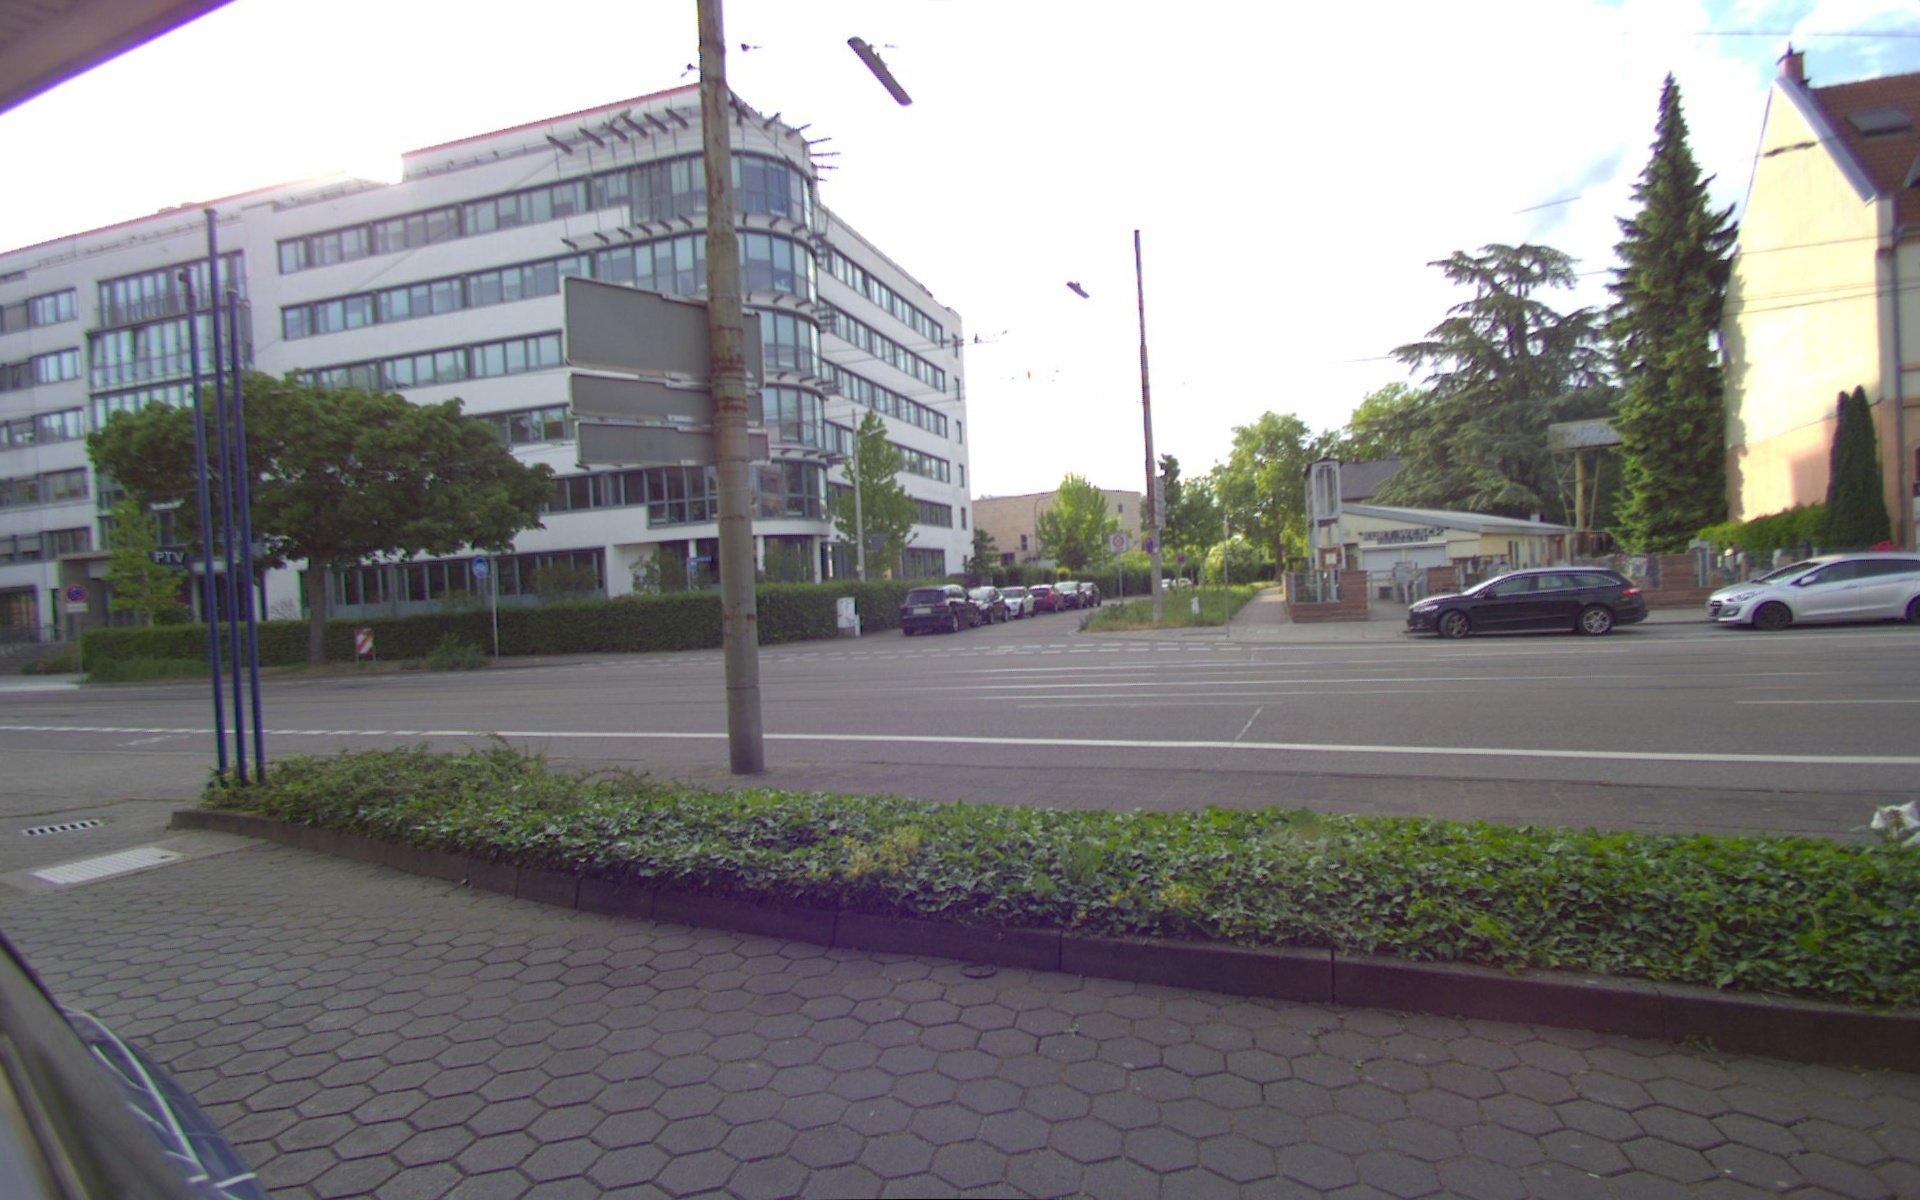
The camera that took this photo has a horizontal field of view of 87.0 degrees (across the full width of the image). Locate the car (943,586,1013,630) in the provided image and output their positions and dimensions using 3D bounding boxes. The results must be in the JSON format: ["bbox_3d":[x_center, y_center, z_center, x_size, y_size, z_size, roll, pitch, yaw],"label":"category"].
[{"bbox_3d":[0.783,0.288,40.974,1.929,1.551,4.274,-3,0,13],"label":"car"}]

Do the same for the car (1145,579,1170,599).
[{"bbox_3d":[19.686,-1.094,100.791,1.849,1.748,4.247,-3,1,19],"label":"car"}]

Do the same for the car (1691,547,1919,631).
[{"bbox_3d":[18.412,-0.249,21.381,4.424,1.494,1.713,-3,1,21],"label":"car"}]

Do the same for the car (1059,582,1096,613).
[{"bbox_3d":[7.277,-0.165,62.494,1.731,1.748,4.030,-3,0,13],"label":"car"}]

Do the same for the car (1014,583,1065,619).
[{"bbox_3d":[4.164,0.019,52.491,1.929,1.650,4.274,-3,0,13],"label":"car"}]

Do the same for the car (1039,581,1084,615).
[{"bbox_3d":[5.823,-0.154,57.720,1.929,1.748,4.512,-3,0,13],"label":"car"}]

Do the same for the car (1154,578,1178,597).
[{"bbox_3d":[21.677,-1.344,106.161,1.849,1.748,4.246,-3,1,19],"label":"car"}]

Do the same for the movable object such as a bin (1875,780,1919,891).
[{"bbox_3d":[4.672,1.100,4.630,0.679,0.424,0.475,-2,0,39],"label":"movable object such as a bin"}]

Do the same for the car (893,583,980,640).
[{"bbox_3d":[-0.736,0.358,35.414,1.994,1.704,4.274,-3,1,13],"label":"car"}]

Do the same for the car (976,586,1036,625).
[{"bbox_3d":[2.131,0.211,45.785,1.929,1.530,4.274,-3,0,13],"label":"car"}]

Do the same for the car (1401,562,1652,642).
[{"bbox_3d":[12.901,0.051,23.442,4.742,1.511,2.001,-3,1,21],"label":"car"}]

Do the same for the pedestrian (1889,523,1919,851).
[{"bbox_3d":[5.587,0.432,5.284,0.970,1.680,0.991,-2,-1,38],"label":"pedestrian"}]
